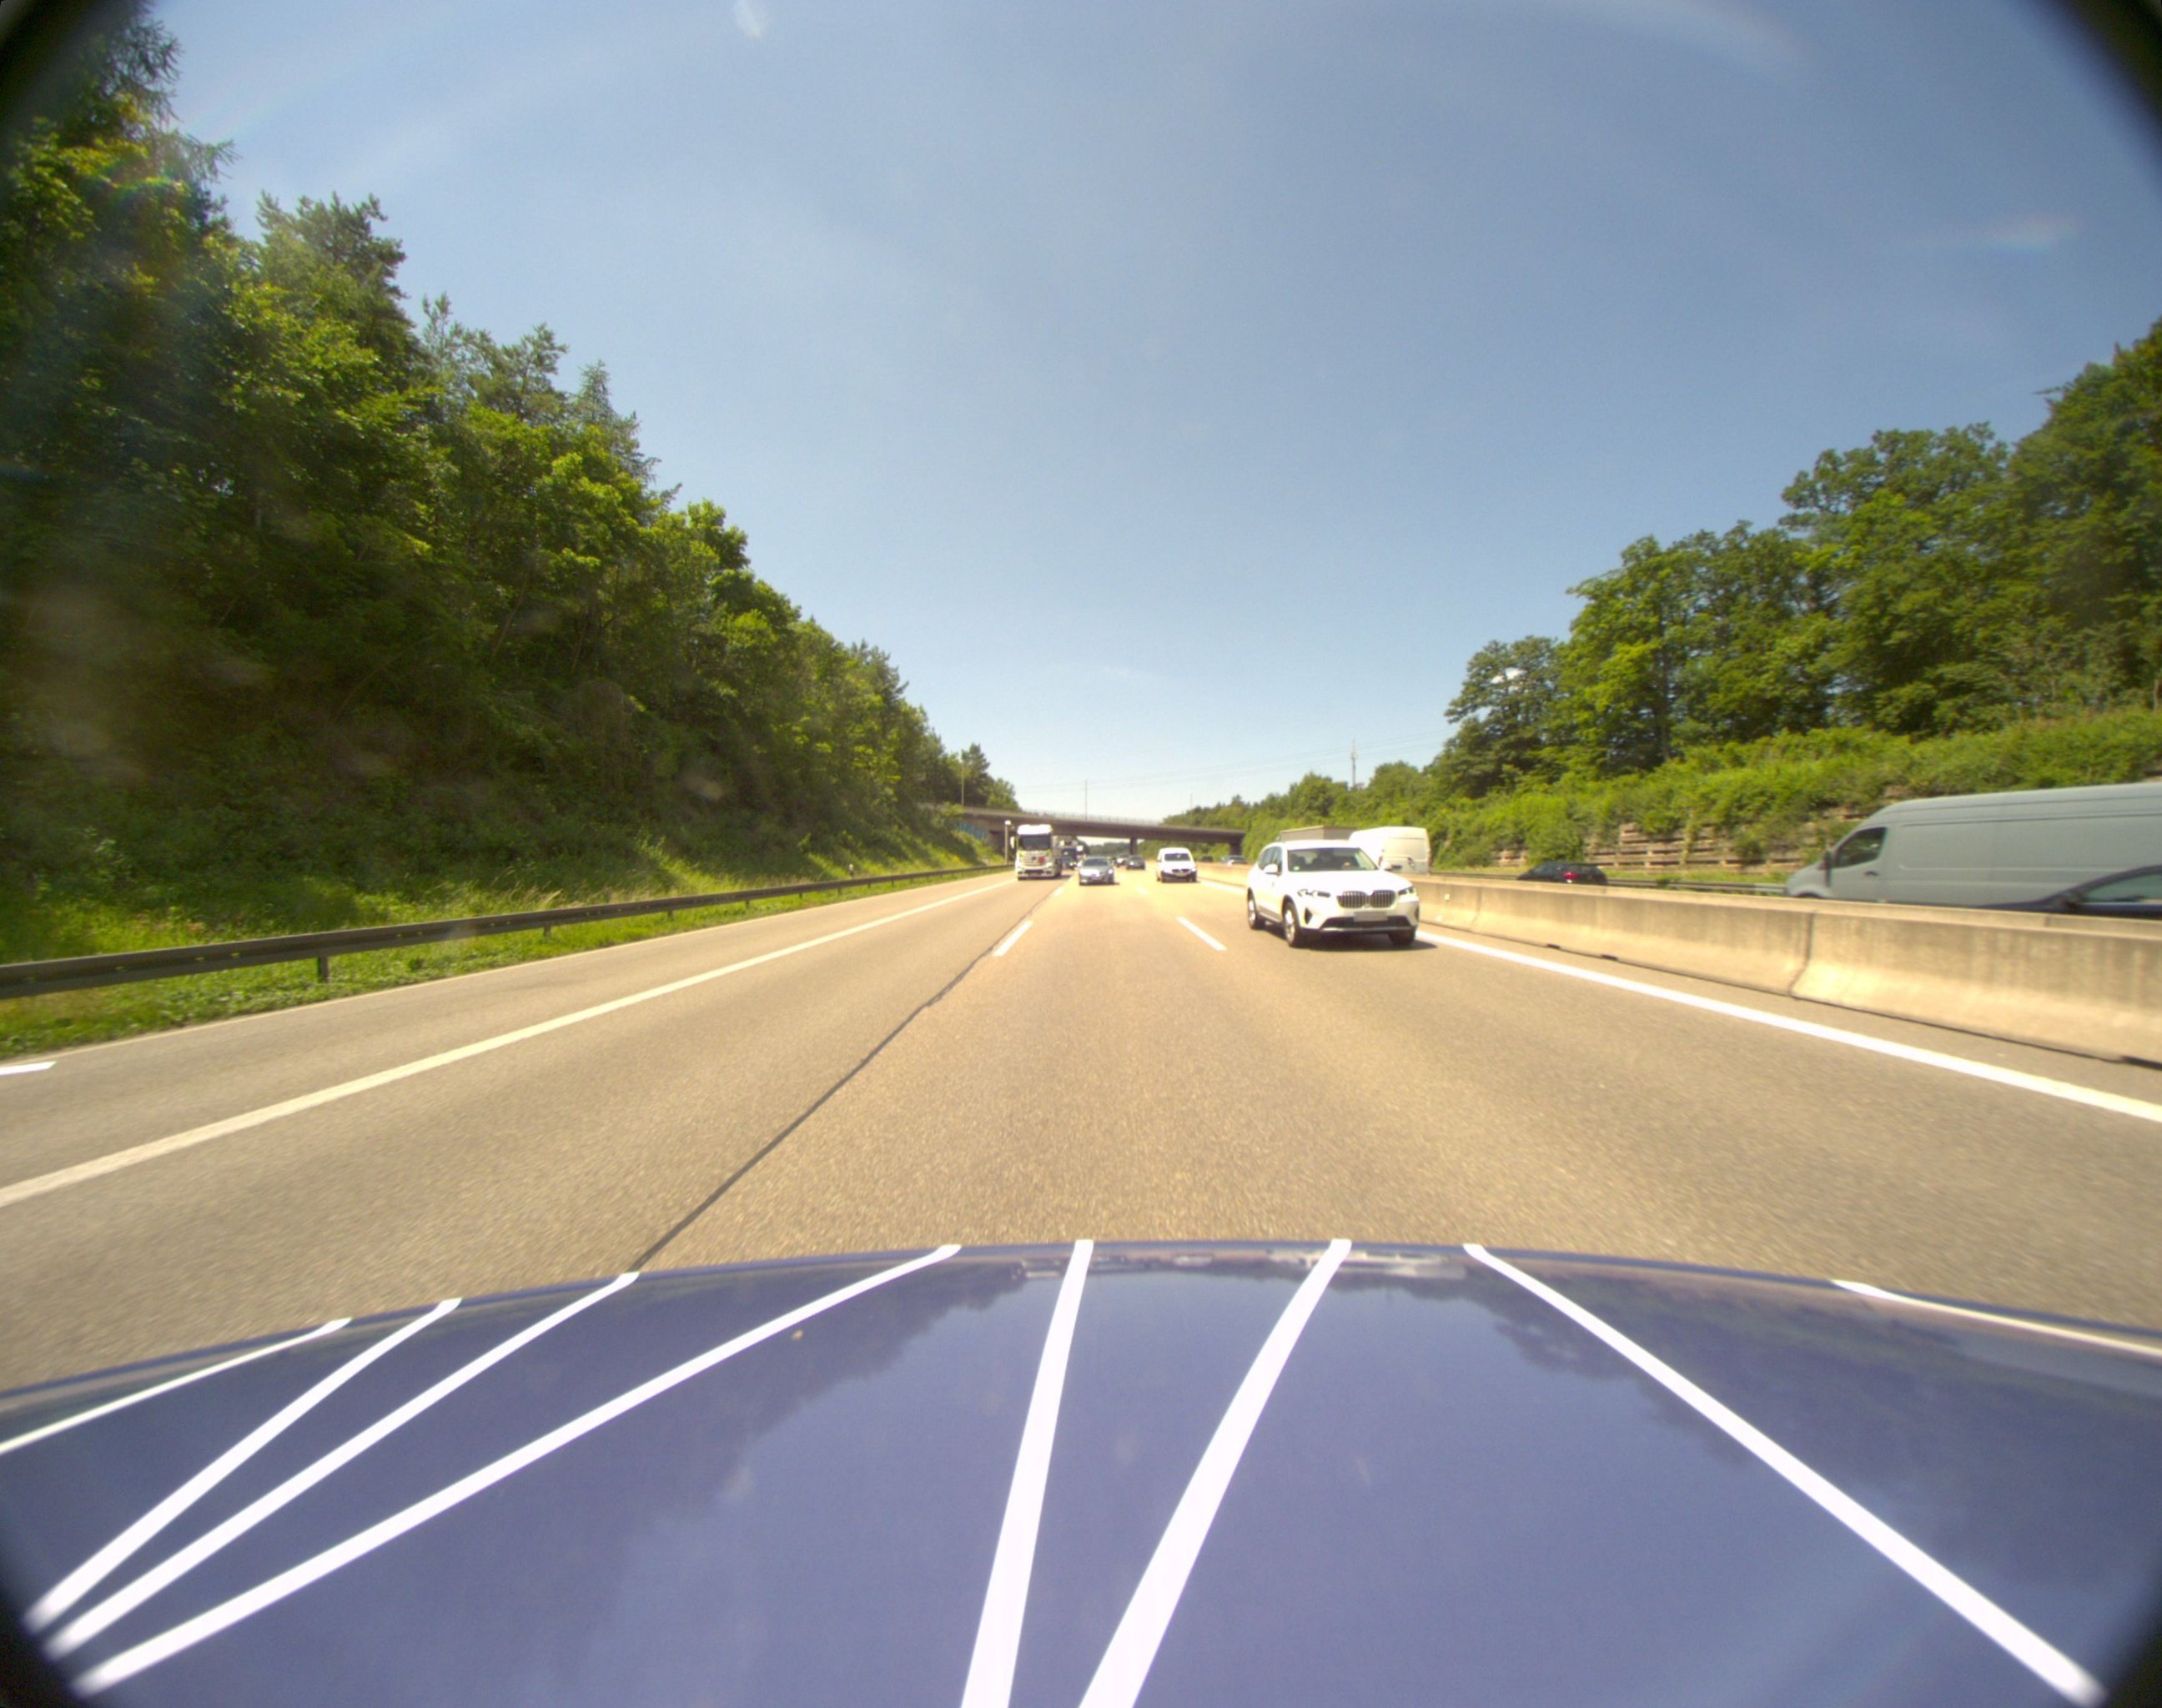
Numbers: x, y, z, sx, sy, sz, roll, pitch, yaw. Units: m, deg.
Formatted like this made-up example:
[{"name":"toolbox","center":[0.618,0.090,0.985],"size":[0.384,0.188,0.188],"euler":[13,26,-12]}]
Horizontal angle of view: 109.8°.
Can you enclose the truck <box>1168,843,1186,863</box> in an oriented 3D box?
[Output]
[{"name":"truck","center":[22.260,-0.253,176.551],"size":[2.627,4.365,13.086],"euler":[-2,1,1]}]

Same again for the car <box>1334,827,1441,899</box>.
[{"name":"car","center":[12.442,0.314,31.282],"size":[2.245,2.667,5.341],"euler":[1,0,1]}]

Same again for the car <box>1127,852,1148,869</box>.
[{"name":"car","center":[5.592,0.611,75.564],"size":[1.770,1.504,4.725],"euler":[-2,1,1]}]

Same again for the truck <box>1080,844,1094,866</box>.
[{"name":"truck","center":[1.297,0.155,164.131],"size":[2.627,4.365,13.086],"euler":[-2,1,1]}]

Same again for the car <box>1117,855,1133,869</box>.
[{"name":"car","center":[5.416,0.948,93.503],"size":[1.770,1.504,3.999],"euler":[-2,1,1]}]

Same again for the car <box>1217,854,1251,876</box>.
[{"name":"car","center":[12.343,0.851,61.631],"size":[1.944,1.690,4.281],"euler":[1,0,1]}]

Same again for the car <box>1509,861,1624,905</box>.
[{"name":"car","center":[19.312,1.103,30.479],"size":[1.900,1.529,4.281],"euler":[1,0,1]}]

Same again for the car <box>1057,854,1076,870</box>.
[{"name":"car","center":[-1.521,0.837,80.540],"size":[1.770,1.504,3.999],"euler":[-2,1,1]}]

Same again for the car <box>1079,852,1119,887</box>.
[{"name":"car","center":[0.941,0.714,37.831],"size":[1.843,1.518,4.501],"euler":[-2,1,2]}]

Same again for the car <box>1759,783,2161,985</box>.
[{"name":"car","center":[15.461,0.395,12.494],"size":[2.245,2.667,7.137],"euler":[1,0,1]}]

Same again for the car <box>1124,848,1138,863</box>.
[{"name":"car","center":[9.330,0.303,141.308],"size":[2.245,2.667,5.341],"euler":[1,0,1]}]

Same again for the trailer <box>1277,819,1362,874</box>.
[{"name":"trailer","center":[20.112,-0.640,65.381],"size":[2.942,4.162,14.183],"euler":[-2,1,1]}]

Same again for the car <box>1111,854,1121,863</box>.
[{"name":"car","center":[6.451,0.842,140.869],"size":[1.770,1.504,3.999],"euler":[-2,1,1]}]

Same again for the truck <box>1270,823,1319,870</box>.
[{"name":"truck","center":[20.202,-0.717,72.186],"size":[2.942,4.162,5.948],"euler":[-2,1,1]}]

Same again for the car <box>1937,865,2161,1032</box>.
[{"name":"car","center":[11.462,0.963,7.263],"size":[1.736,1.595,4.281],"euler":[1,0,1]}]

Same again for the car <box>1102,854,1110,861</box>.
[{"name":"car","center":[6.374,0.916,191.592],"size":[1.944,1.616,4.281],"euler":[1,0,1]}]

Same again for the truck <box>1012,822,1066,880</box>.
[{"name":"truck","center":[-2.779,-0.267,54.767],"size":[2.844,3.518,13.086],"euler":[-2,1,1]}]

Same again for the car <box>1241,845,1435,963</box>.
[{"name":"car","center":[4.111,0.702,12.955],"size":[1.850,1.634,4.368],"euler":[-1,0,1]}]

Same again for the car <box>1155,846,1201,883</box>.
[{"name":"car","center":[5.105,0.496,40.473],"size":[1.998,1.764,4.501],"euler":[-2,1,2]}]

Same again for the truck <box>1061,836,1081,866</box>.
[{"name":"truck","center":[-1.488,-0.547,118.778],"size":[2.627,4.365,13.086],"euler":[-2,1,1]}]

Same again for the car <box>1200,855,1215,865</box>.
[{"name":"car","center":[21.346,0.965,128.364],"size":[1.944,1.616,4.281],"euler":[1,0,1]}]
